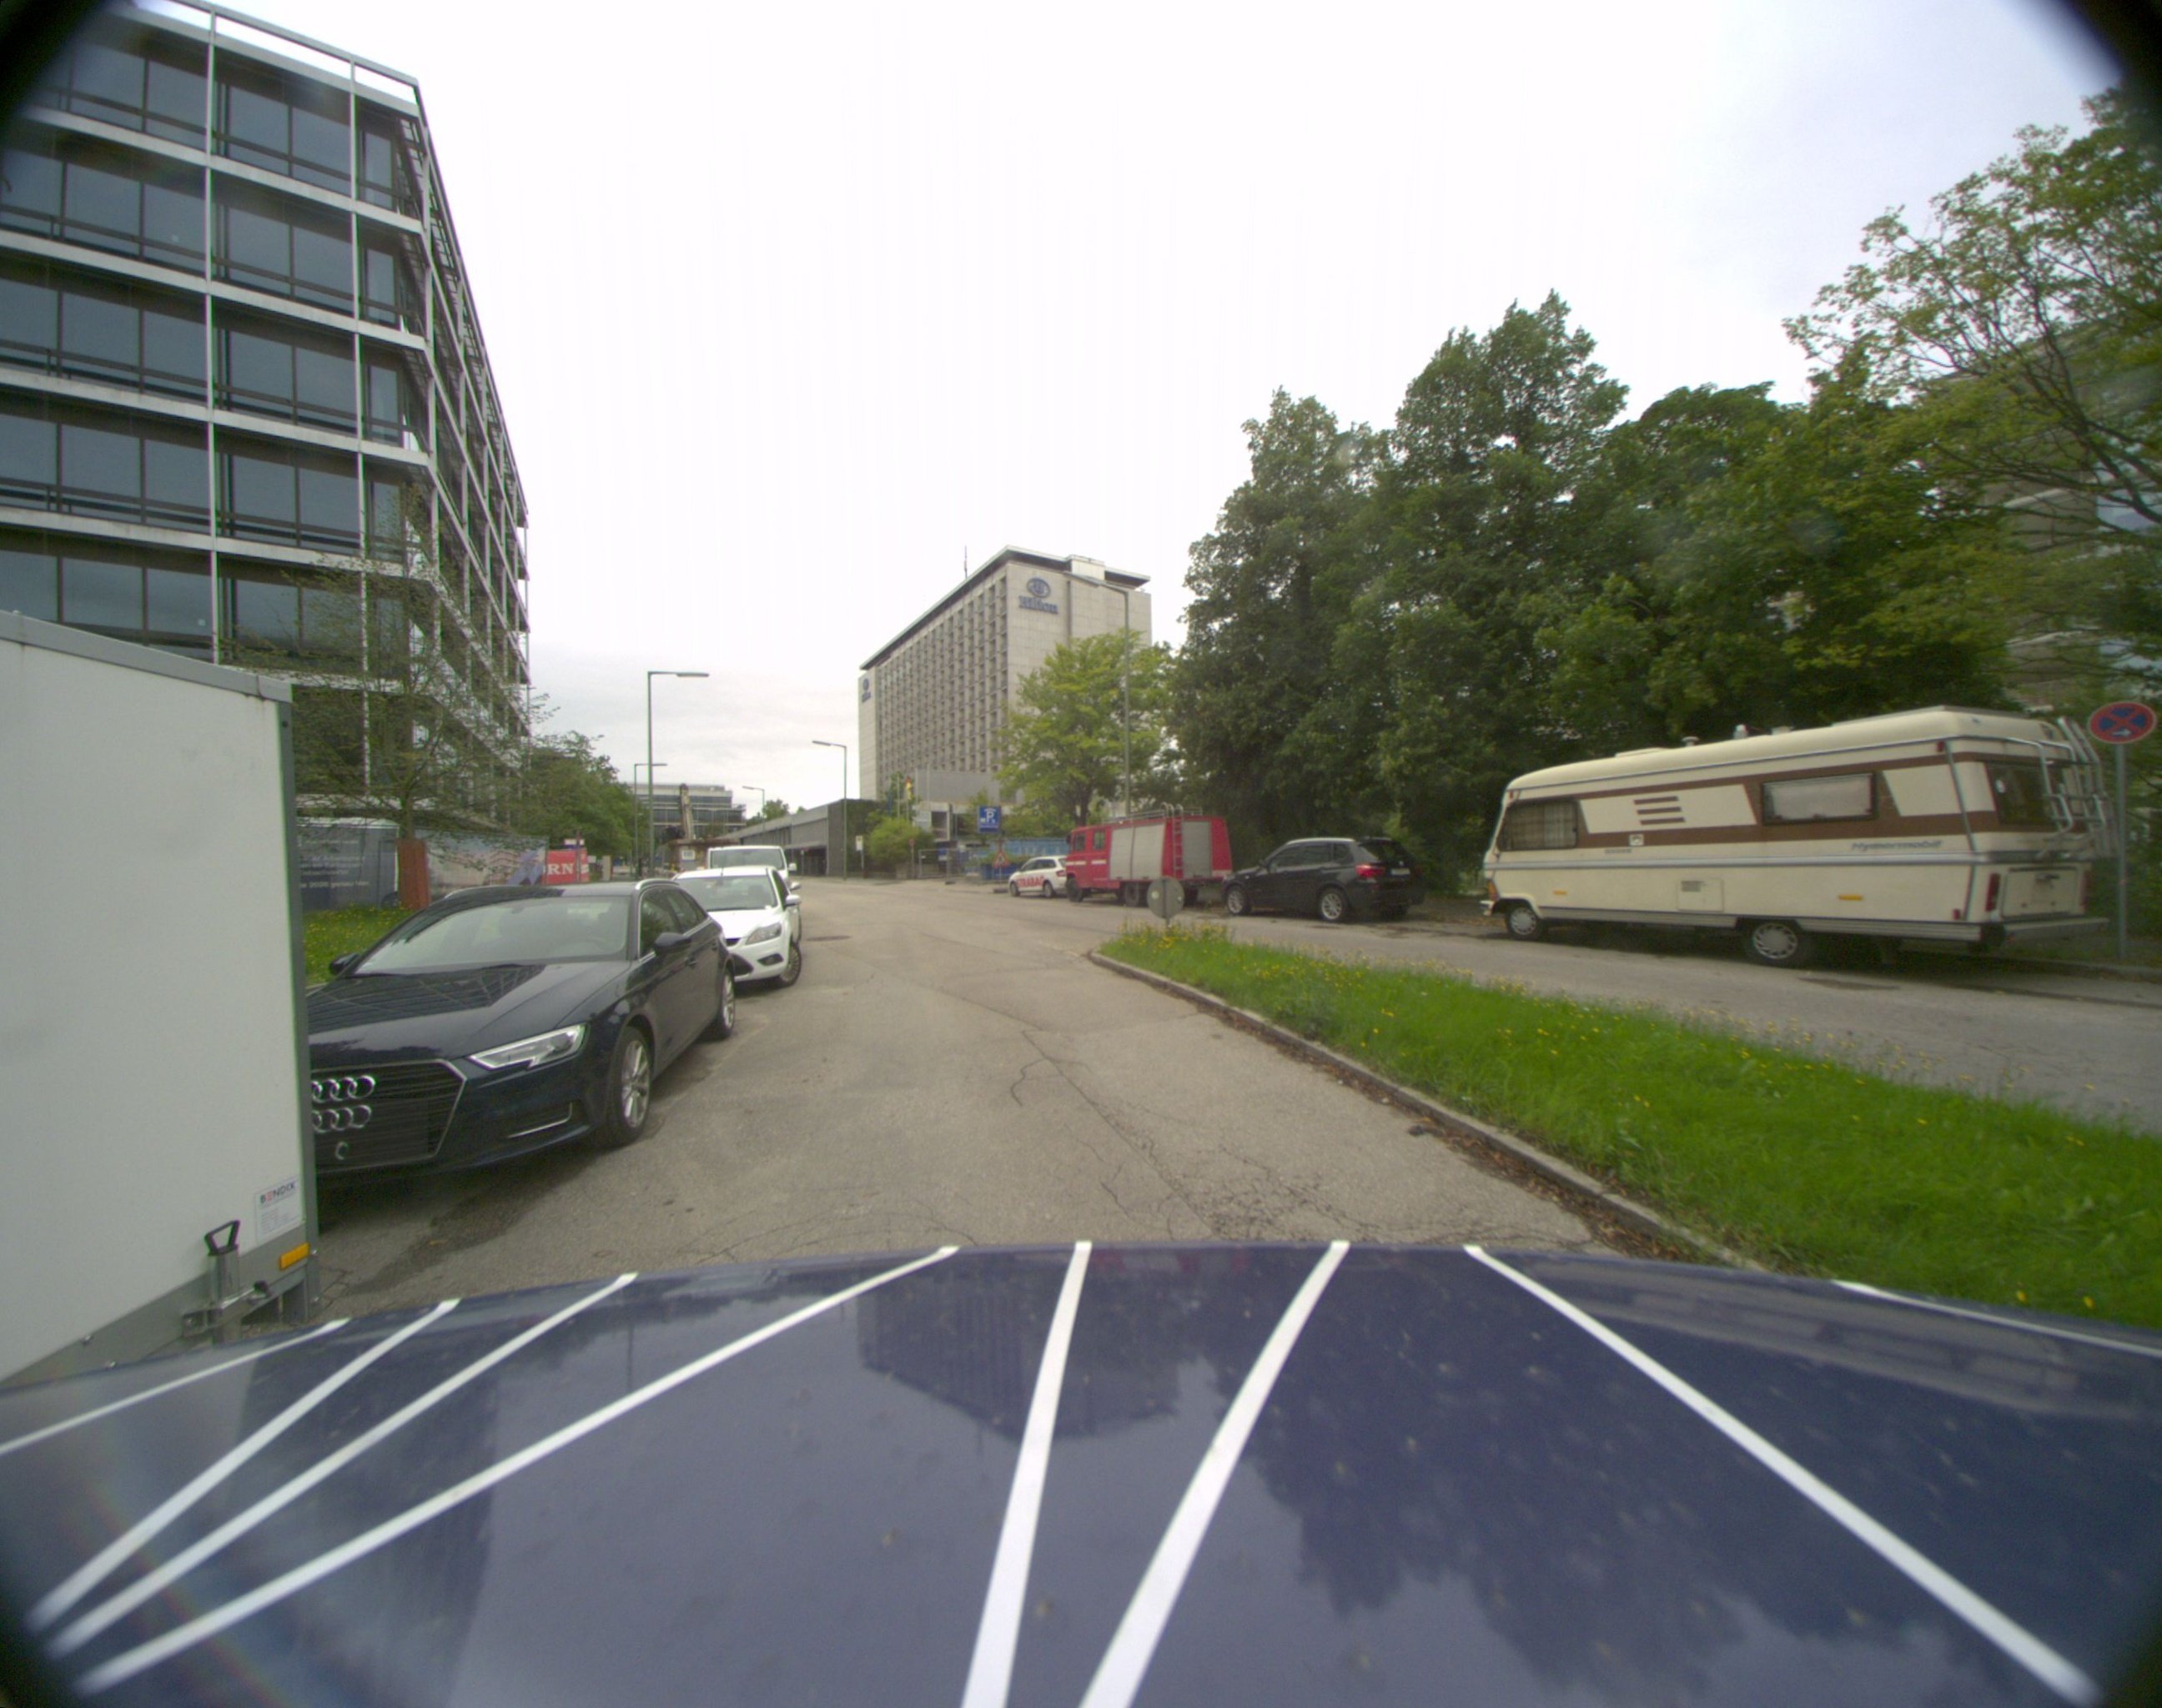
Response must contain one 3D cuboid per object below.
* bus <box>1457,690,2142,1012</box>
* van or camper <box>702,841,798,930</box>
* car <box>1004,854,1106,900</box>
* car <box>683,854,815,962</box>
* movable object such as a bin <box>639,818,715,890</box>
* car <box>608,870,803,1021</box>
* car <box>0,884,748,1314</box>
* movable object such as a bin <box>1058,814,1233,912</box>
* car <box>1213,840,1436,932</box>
[{"bbox_3d":[7.902,-0.022,9.422,2.325,2.683,5.724,-1,0,-21],"label":"bus"},{"bbox_3d":[-8.843,0.692,20.090,2.003,2.002,5.365,-1,1,-26],"label":"van or camper"},{"bbox_3d":[-1.038,0.781,28.008,1.785,1.540,4.246,-1,0,-33],"label":"car"},{"bbox_3d":[-6.469,0.879,14.839,2.002,1.718,4.440,-1,1,-24],"label":"car"},{"bbox_3d":[-23.139,-0.033,43.938,3.256,3.695,8.989,-1,1,-25],"label":"movable object such as a bin"},{"bbox_3d":[-4.772,1.008,10.250,1.774,1.477,4.214,-1,0,-18],"label":"car"},{"bbox_3d":[-3.648,0.996,5.118,1.879,1.428,4.323,0,0,-14],"label":"car"},{"bbox_3d":[1.623,0.221,22.137,2.114,2.444,6.173,-1,0,-27],"label":"movable object such as a bin"},{"bbox_3d":[4.907,0.574,15.990,1.784,1.640,4.450,-1,0,-29],"label":"car"}]
